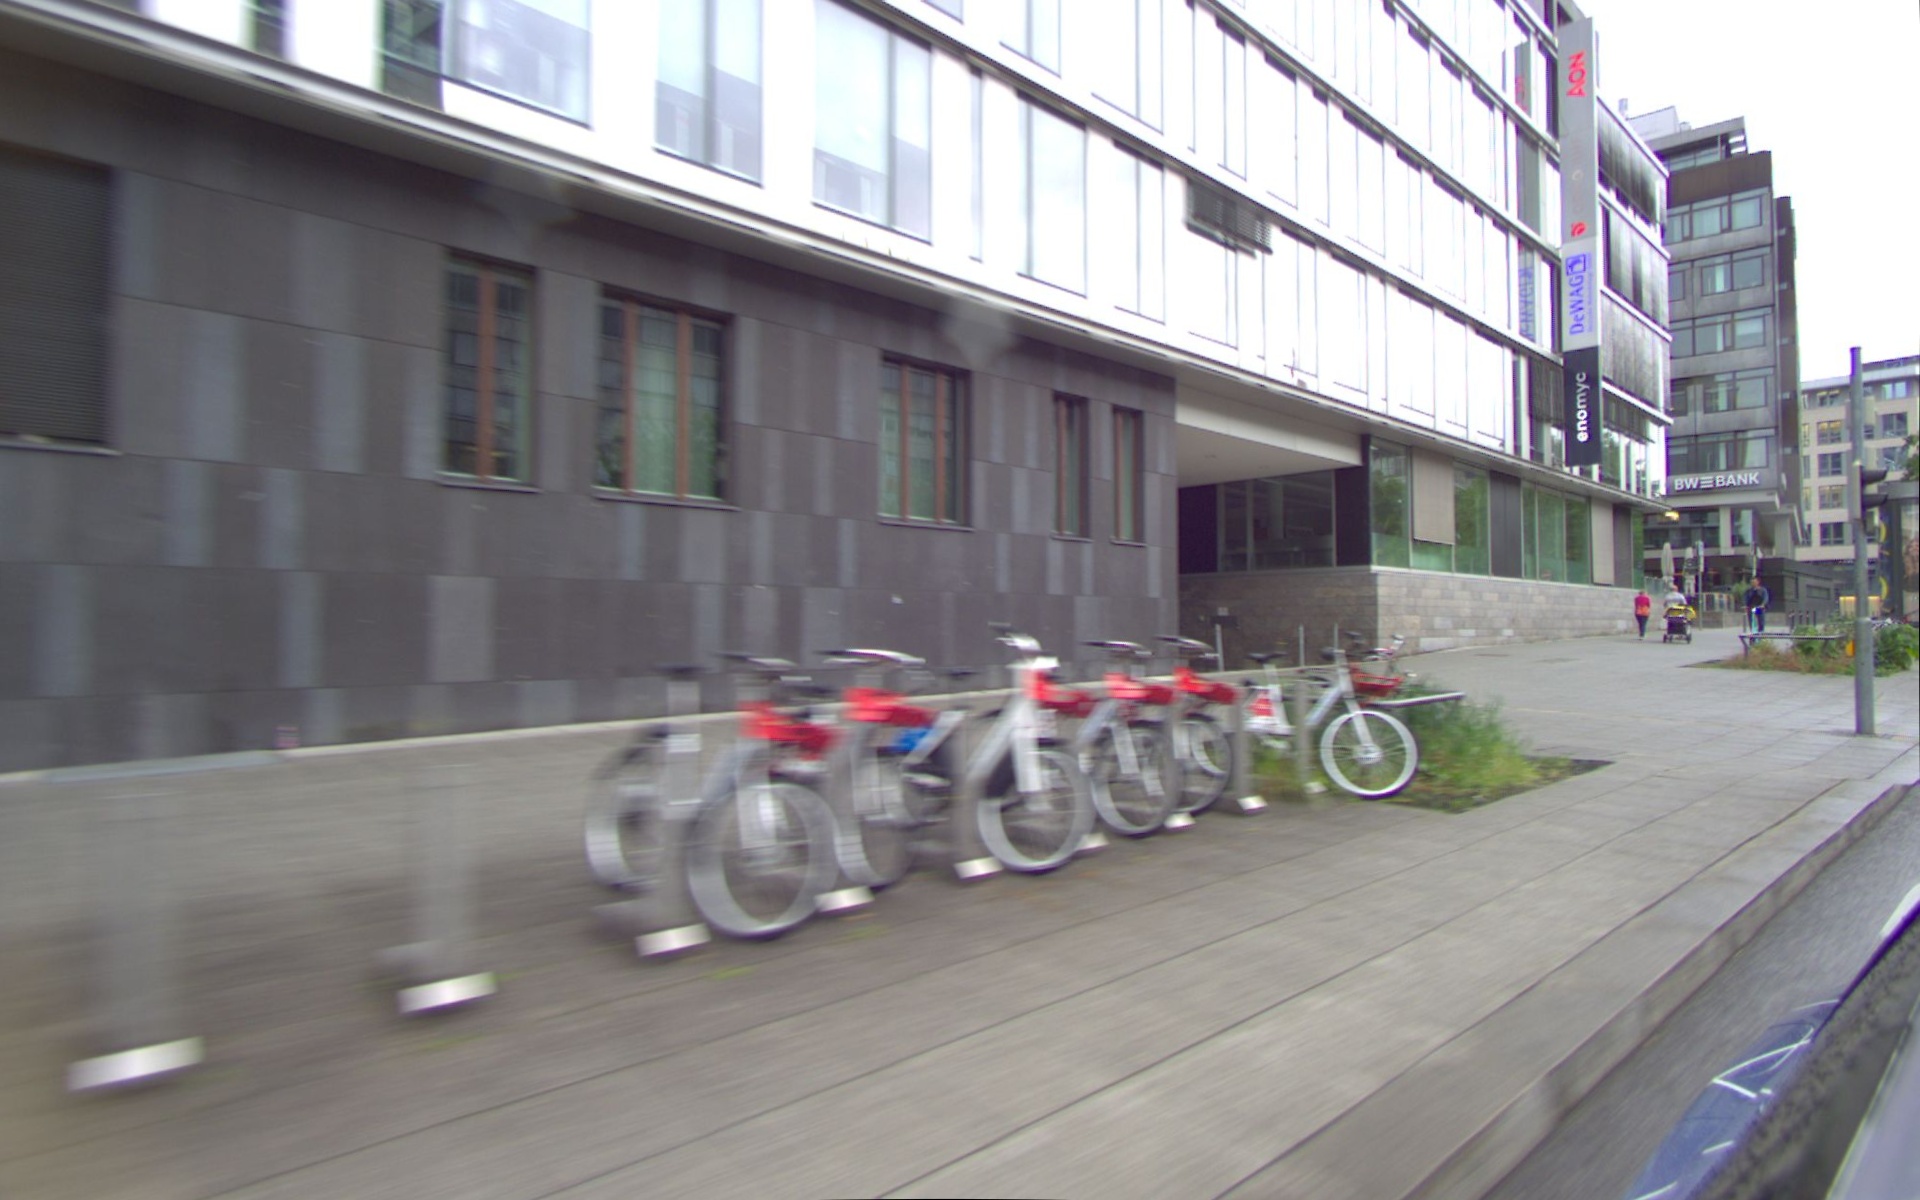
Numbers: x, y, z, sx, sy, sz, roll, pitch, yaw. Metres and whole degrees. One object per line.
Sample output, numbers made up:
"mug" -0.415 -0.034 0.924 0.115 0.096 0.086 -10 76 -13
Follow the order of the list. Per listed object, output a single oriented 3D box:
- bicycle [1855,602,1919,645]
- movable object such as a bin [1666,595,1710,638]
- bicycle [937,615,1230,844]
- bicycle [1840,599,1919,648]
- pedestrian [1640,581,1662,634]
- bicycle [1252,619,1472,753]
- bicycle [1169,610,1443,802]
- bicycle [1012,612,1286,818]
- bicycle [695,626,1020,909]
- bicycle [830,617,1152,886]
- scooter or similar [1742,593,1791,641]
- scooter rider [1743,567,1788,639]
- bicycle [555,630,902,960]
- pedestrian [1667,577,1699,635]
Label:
"bicycle" 25.173 0.622 26.989 0.658 1.124 1.875 0 0 -40
"movable object such as a bin" 22.845 0.498 31.741 1.758 1.281 0.803 -1 1 -43
"bicycle" 0.709 0.701 6.233 1.729 1.198 0.678 -1 0 43
"bicycle" 23.723 0.584 25.919 1.791 1.222 0.659 0 0 43
"pedestrian" 22.899 0.249 33.534 0.569 1.720 0.484 0 0 -43
"bicycle" 3.616 0.724 9.200 1.729 1.083 0.678 -1 0 43
"bicycle" 2.432 0.679 7.254 1.729 1.198 0.678 -1 0 43
"bicycle" 1.228 0.690 6.832 1.729 1.198 0.678 -1 0 43
"bicycle" -0.577 0.728 5.125 1.729 1.155 0.678 -1 0 43
"bicycle" 0.110 0.706 5.458 1.729 1.198 0.678 -1 0 43
"scooter or similar" 23.170 0.478 29.071 1.310 1.322 0.780 0 -1 -38
"scooter rider" 23.142 0.089 29.066 0.907 2.047 0.780 0 -1 -38
"bicycle" -1.097 0.734 4.532 1.729 1.155 0.678 -1 0 43
"pedestrian" 23.482 0.193 32.881 0.734 1.853 0.722 0 0 -43
